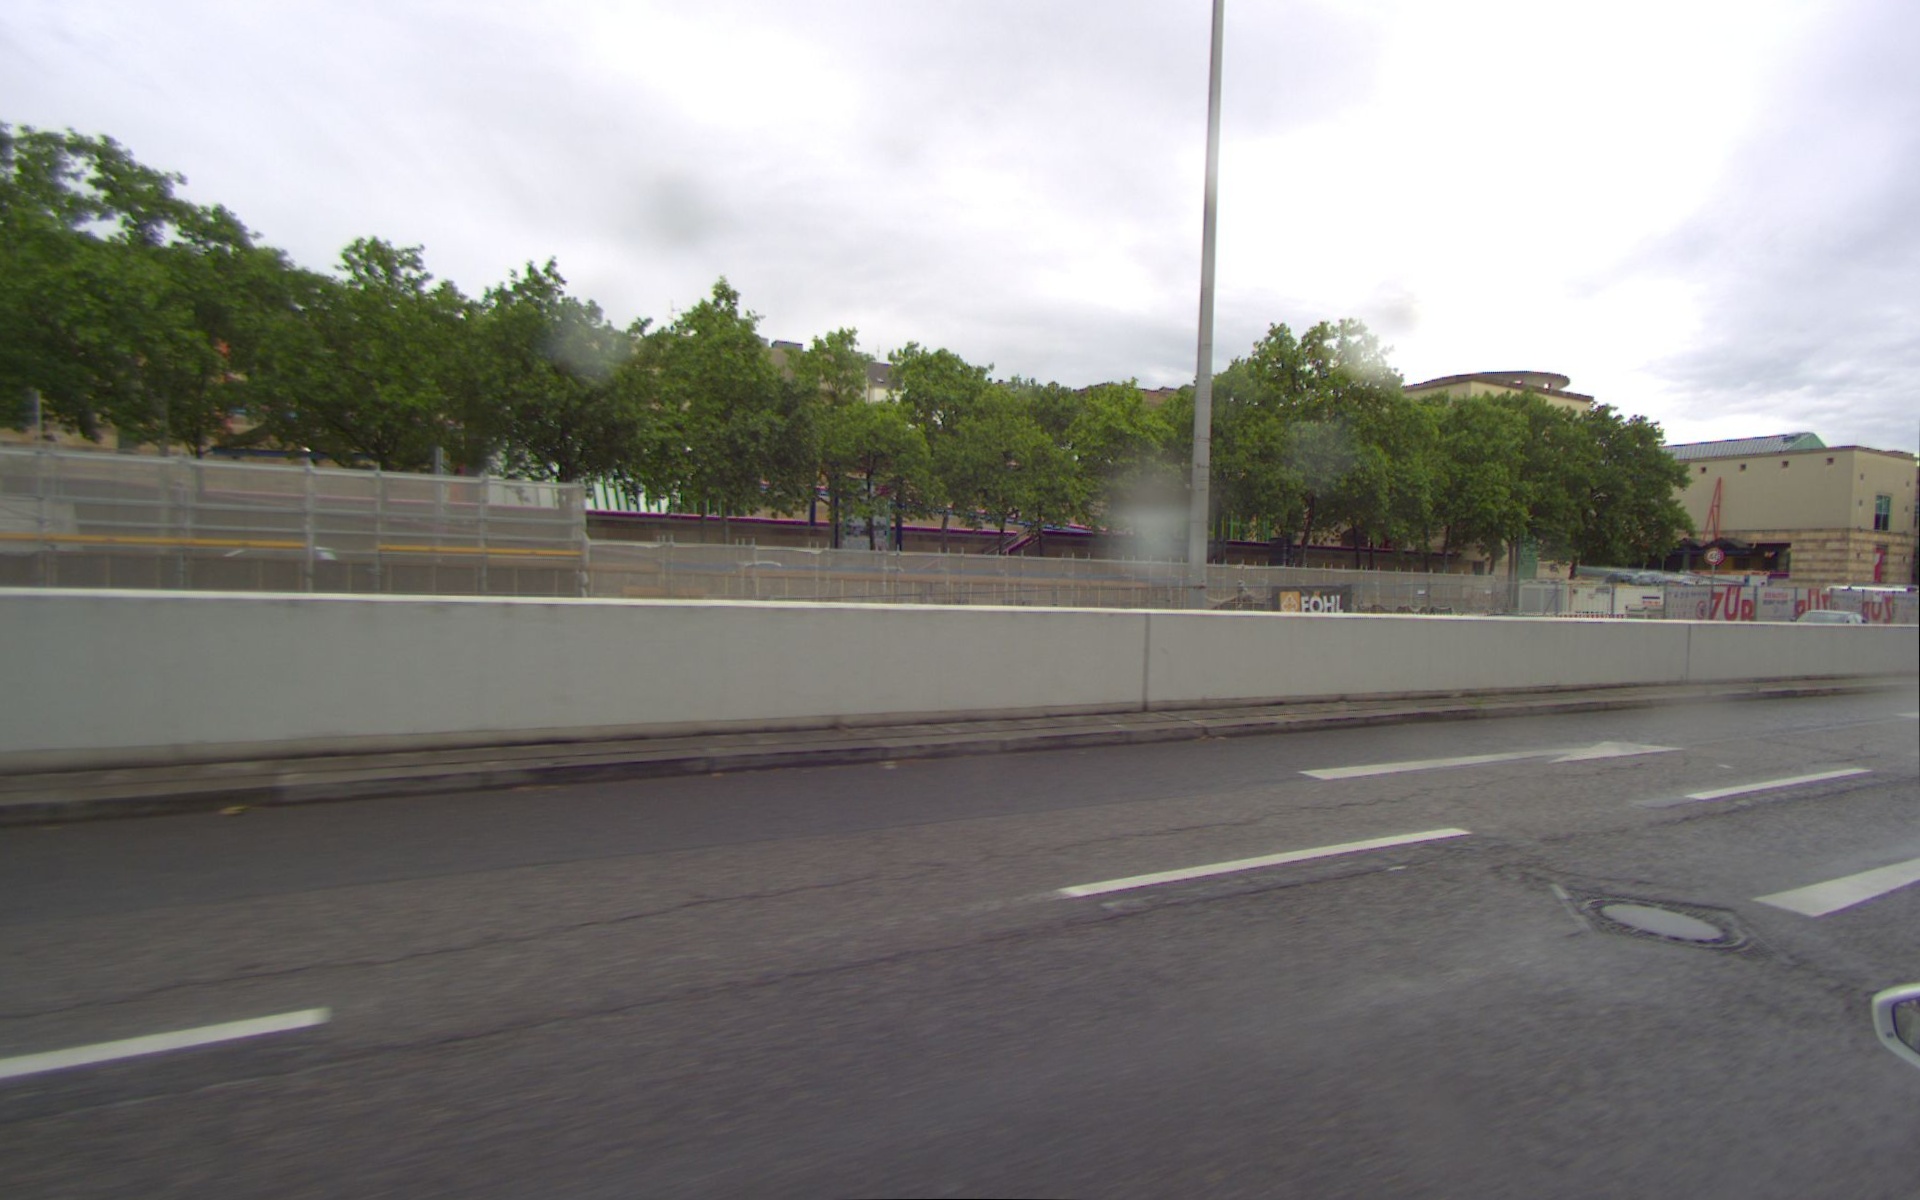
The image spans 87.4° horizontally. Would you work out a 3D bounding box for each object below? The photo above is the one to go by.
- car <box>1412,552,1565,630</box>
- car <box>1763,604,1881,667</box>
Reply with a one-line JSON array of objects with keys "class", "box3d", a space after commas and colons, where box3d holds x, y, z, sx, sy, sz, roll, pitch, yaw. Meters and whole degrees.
[{"class": "car", "box3d": [15.078, -0.254, 28.645, 3.953, 2.041, 1.983, 1, 4, -31]}, {"class": "car", "box3d": [31.471, 1.278, 36.662, 3.953, 2.041, 1.983, 1, 4, -31]}]
